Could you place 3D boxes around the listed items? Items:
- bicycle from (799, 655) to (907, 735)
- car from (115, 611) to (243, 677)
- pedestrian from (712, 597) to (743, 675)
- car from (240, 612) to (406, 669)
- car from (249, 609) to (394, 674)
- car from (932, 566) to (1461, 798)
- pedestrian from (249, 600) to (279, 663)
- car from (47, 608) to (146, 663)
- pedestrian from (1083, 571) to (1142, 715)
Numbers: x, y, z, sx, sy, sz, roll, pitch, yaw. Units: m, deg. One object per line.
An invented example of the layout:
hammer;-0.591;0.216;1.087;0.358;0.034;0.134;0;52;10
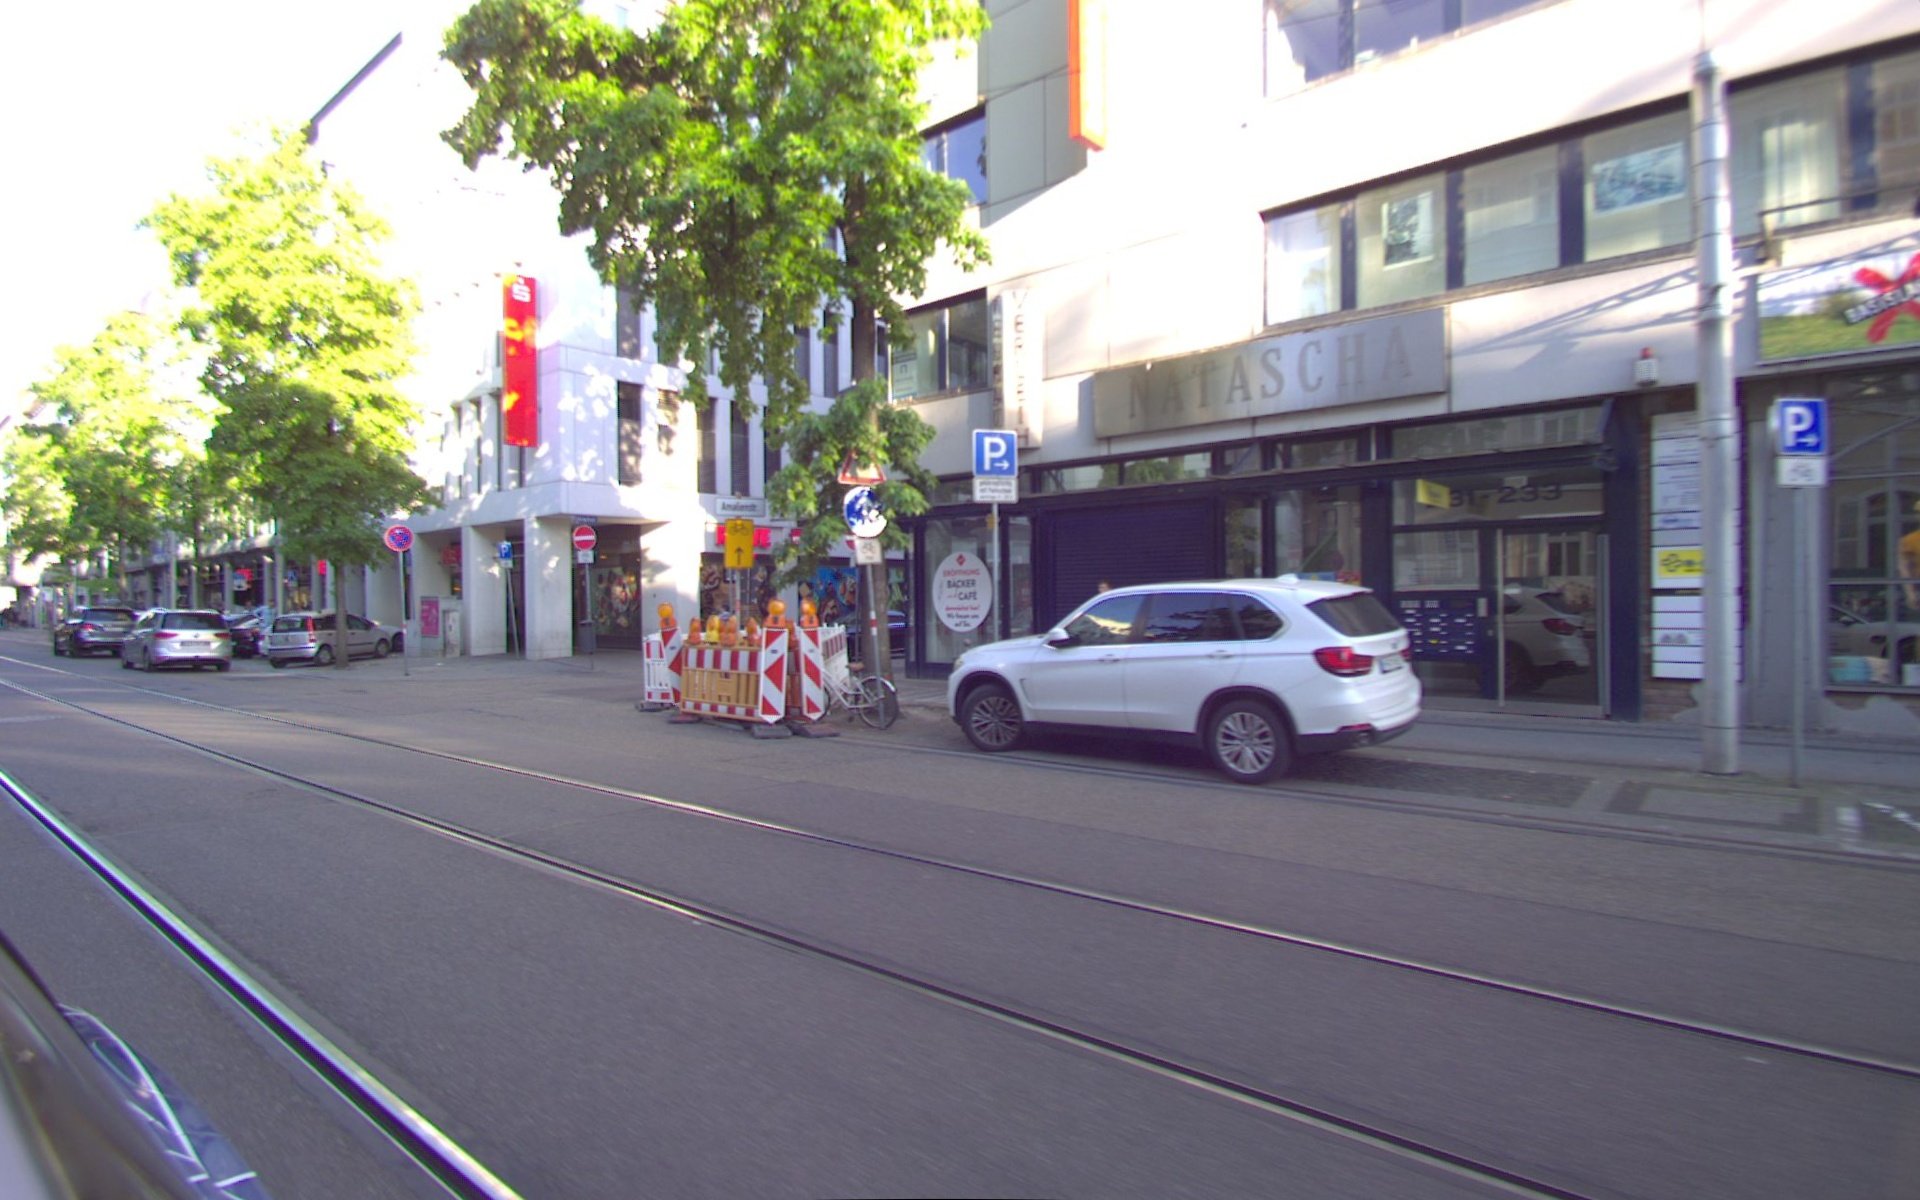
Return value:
bicycle;-1.362;1.165;12.683;0.496;0.843;1.536;-4;2;-43
car;-20.735;1.137;26.803;4.198;1.624;1.865;-1;-3;41
pedestrian;-5.049;0.773;22.002;0.602;1.658;0.728;-1;-1;-10
car;-19.904;1.218;31.851;1.568;1.423;4.286;-1;2;22
car;-18.344;1.143;29.250;1.768;1.572;3.393;-1;2;8
car;2.153;0.646;10.094;4.741;1.767;1.973;-1;1;41
pedestrian;-22.126;0.991;32.170;0.723;1.948;0.647;-2;-1;43
car;-30.090;1.217;35.228;4.198;1.820;2.013;-1;-2;41
pedestrian;2.215;0.611;14.692;0.592;2.029;0.608;-2;-1;39
